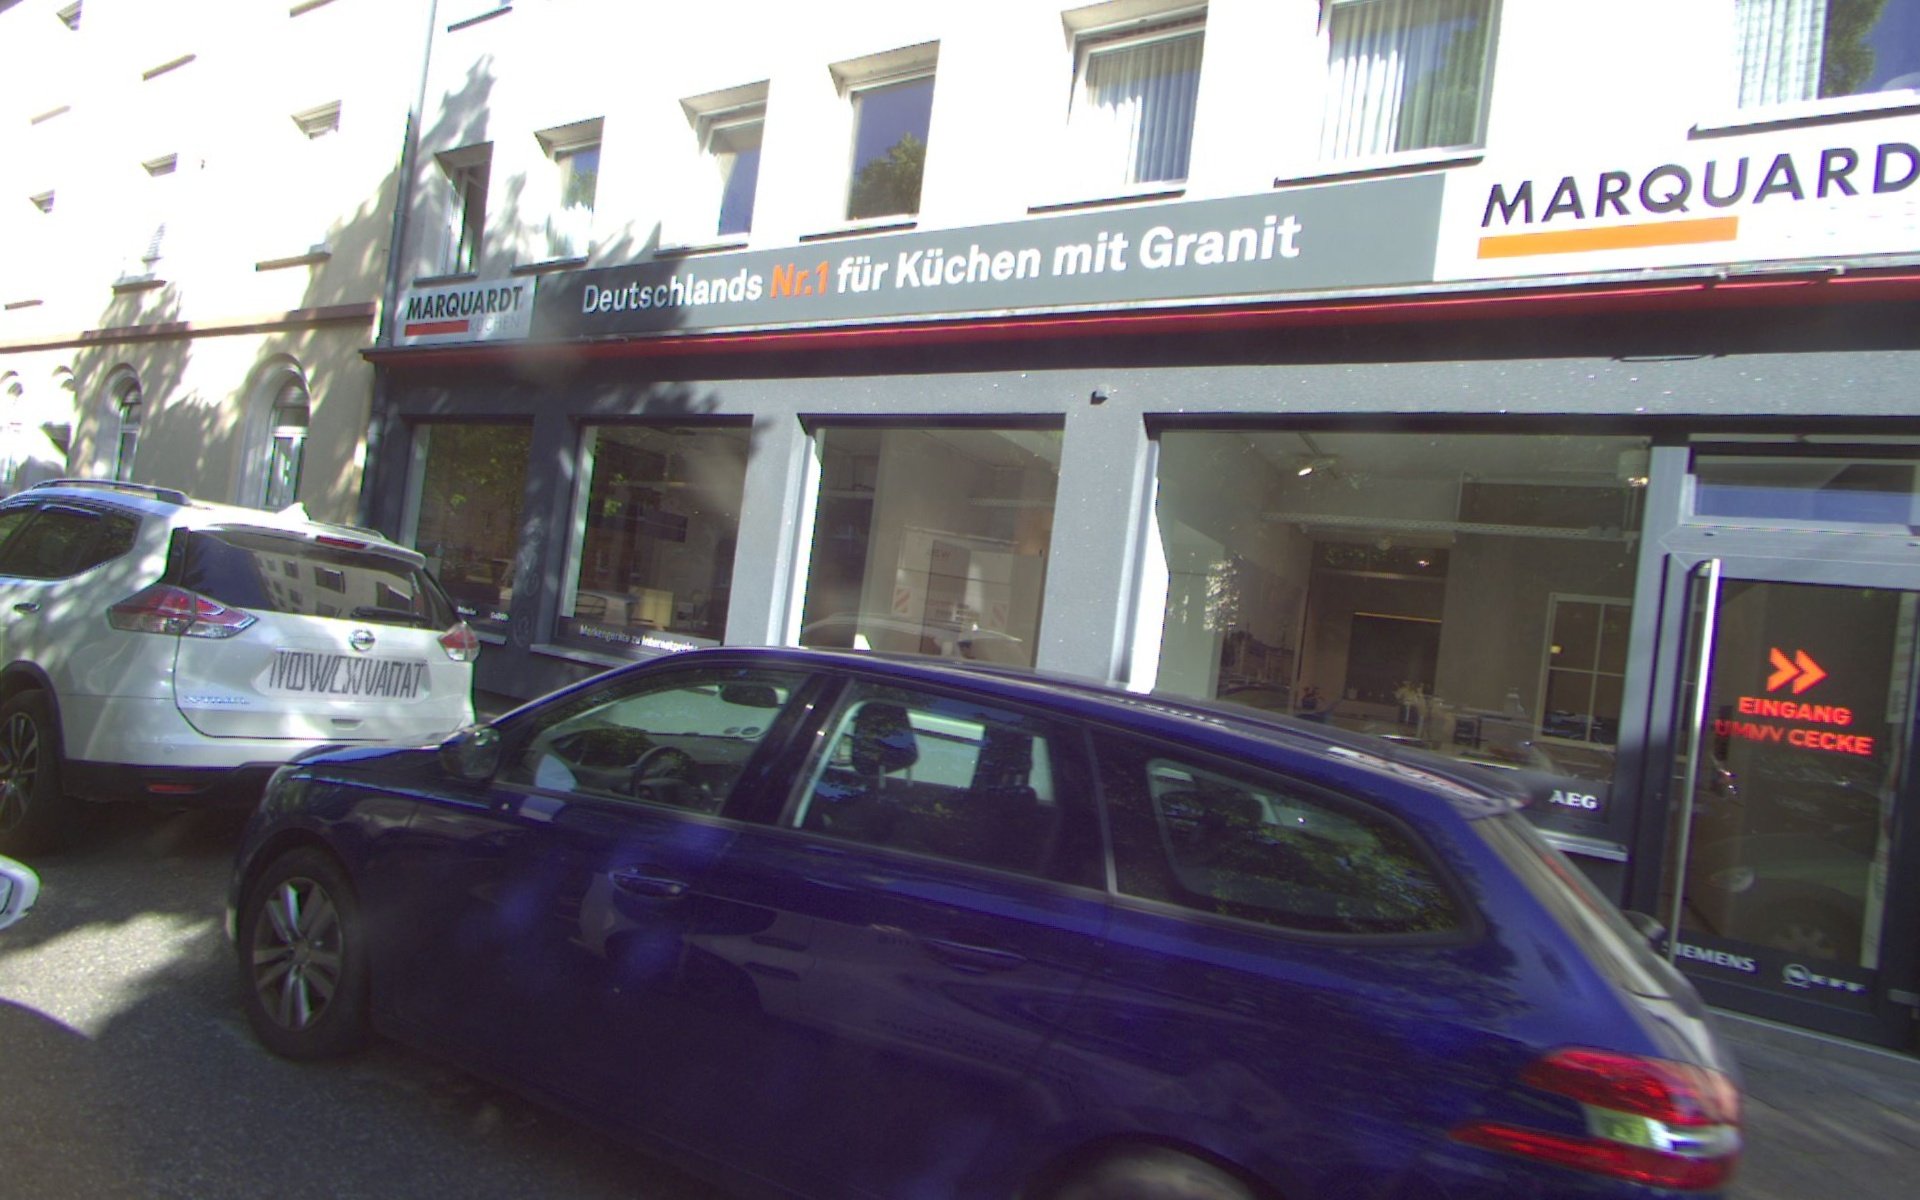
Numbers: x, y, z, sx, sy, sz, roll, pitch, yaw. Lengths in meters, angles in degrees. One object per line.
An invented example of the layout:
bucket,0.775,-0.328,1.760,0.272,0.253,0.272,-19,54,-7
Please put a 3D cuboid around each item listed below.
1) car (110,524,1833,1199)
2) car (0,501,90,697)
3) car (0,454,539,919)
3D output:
car,-0.409,0.790,3.199,4.362,1.480,1.808,7,-2,26
car,-9.456,-0.250,8.534,4.166,1.517,1.766,6,-2,30
car,-4.735,0.227,5.762,4.433,1.773,1.766,7,-2,29
